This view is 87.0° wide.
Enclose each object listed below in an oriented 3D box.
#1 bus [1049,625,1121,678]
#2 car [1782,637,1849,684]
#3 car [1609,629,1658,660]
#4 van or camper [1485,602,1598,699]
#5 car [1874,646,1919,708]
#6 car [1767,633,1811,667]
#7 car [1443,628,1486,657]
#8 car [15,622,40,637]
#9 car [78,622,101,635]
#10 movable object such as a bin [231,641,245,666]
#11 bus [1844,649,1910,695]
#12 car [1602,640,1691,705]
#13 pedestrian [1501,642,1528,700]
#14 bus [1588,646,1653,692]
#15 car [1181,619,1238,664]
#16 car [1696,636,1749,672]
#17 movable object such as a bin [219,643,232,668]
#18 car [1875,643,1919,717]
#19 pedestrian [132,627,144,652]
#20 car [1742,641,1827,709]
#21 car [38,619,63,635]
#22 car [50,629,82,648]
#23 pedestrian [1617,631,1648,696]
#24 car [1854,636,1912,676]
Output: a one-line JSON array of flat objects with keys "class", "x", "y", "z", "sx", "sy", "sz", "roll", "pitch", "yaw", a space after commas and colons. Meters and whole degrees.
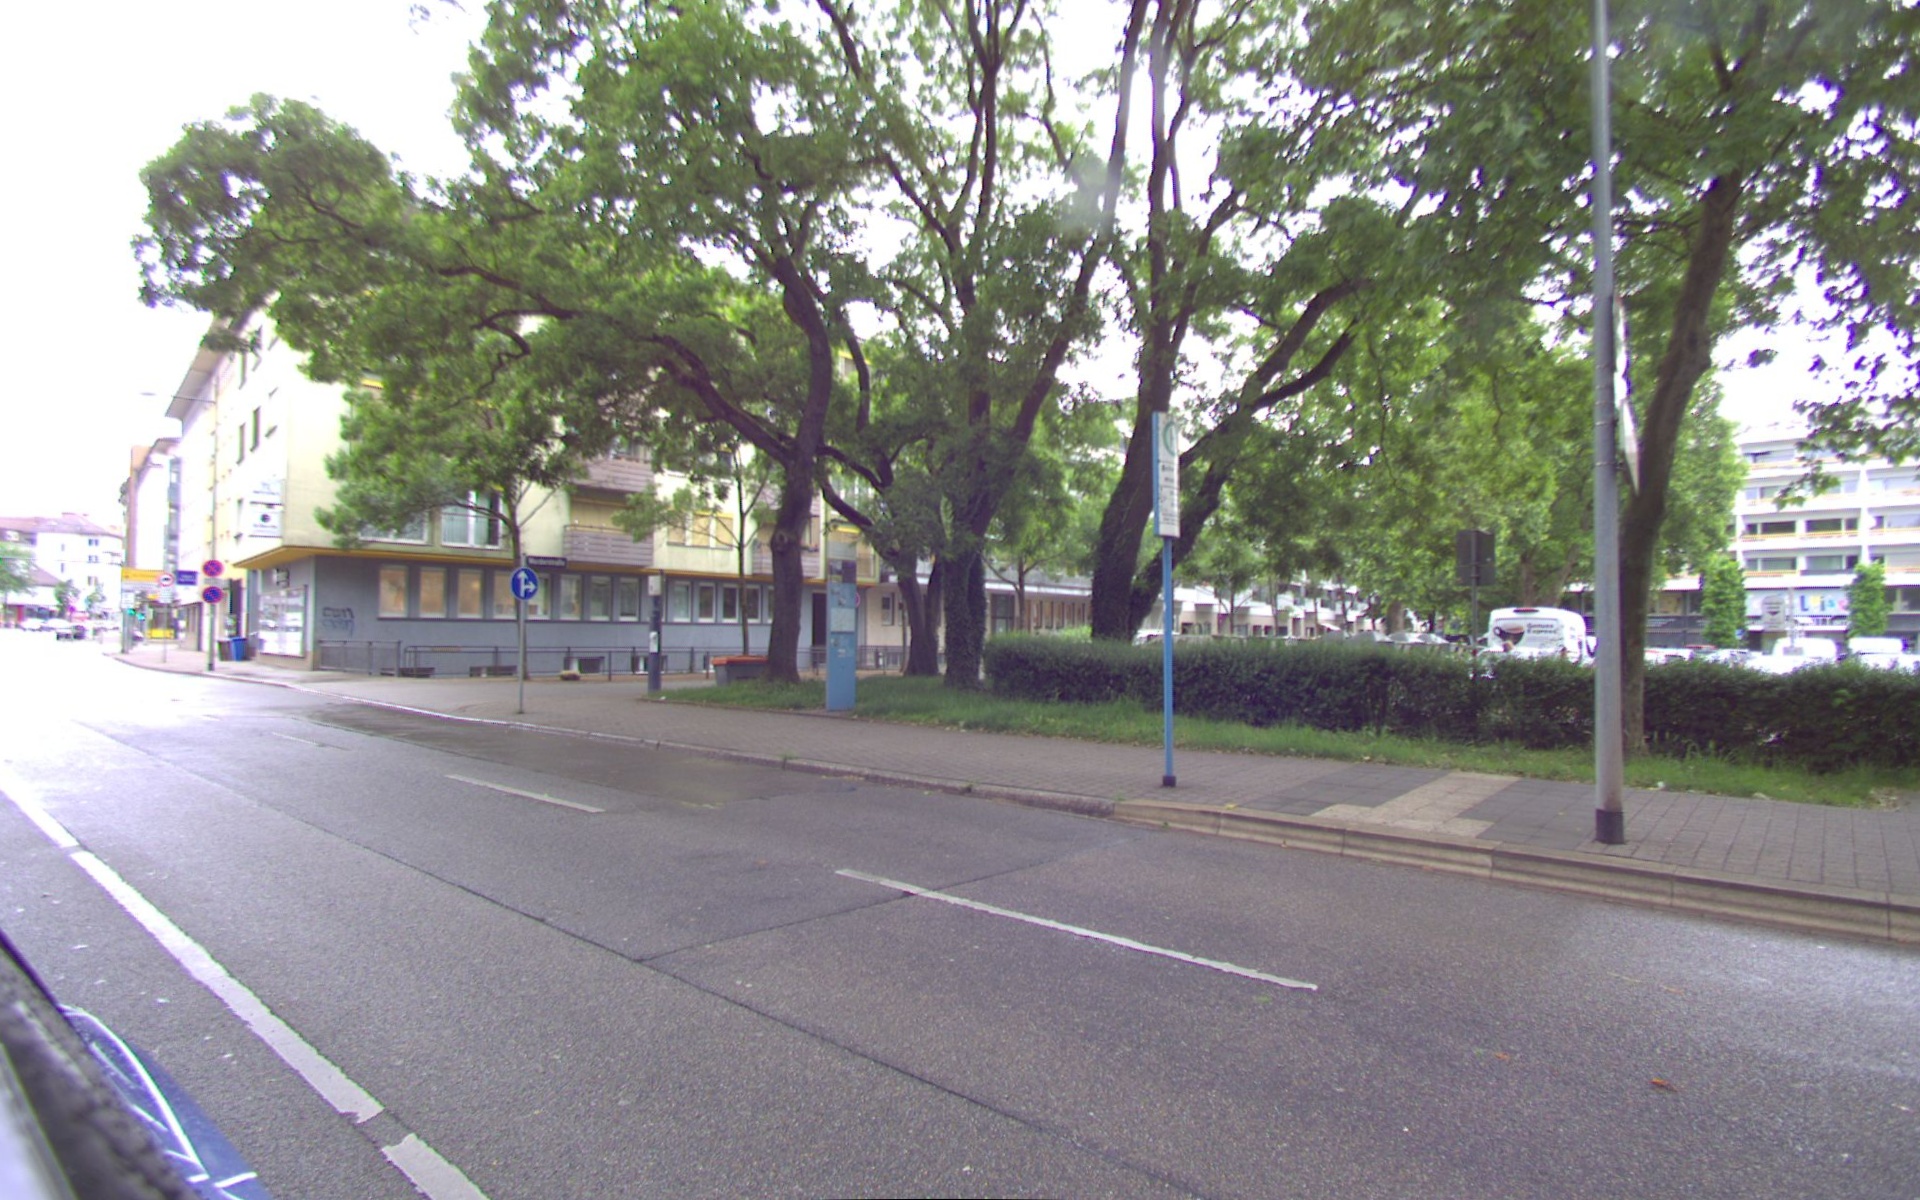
[{"class": "bus", "x": 4.830, "y": 1.968, "z": 38.688, "sx": 1.703, "sy": 1.939, "sz": 3.697, "roll": 0, "pitch": -3, "yaw": 24}, {"class": "car", "x": 28.167, "y": 1.967, "z": 33.352, "sx": 1.604, "sy": 1.439, "sz": 3.275, "roll": -1, "pitch": -3, "yaw": 40}, {"class": "car", "x": 32.458, "y": 2.160, "z": 48.731, "sx": 1.604, "sy": 1.439, "sz": 3.275, "roll": -1, "pitch": -3, "yaw": 40}, {"class": "van or camper", "x": 16.823, "y": 1.444, "z": 29.192, "sx": 2.097, "sy": 2.556, "sz": 4.367, "roll": -1, "pitch": -3, "yaw": 40}, {"class": "car", "x": 23.409, "y": 1.867, "z": 24.807, "sx": 1.391, "sy": 1.446, "sz": 3.227, "roll": -2, "pitch": -4, "yaw": 41}, {"class": "car", "x": 41.978, "y": 2.505, "z": 51.301, "sx": 1.639, "sy": 1.536, "sz": 3.161, "roll": -1, "pitch": 0, "yaw": 38}, {"class": "car", "x": 27.255, "y": 2.293, "z": 54.678, "sx": 1.428, "sy": 1.439, "sz": 2.926, "roll": -2, "pitch": -1, "yaw": 40}, {"class": "car", "x": -111.723, "y": 3.554, "z": 121.290, "sx": 4.002, "sy": 1.653, "sz": 1.971, "roll": -2, "pitch": -4, "yaw": 45}, {"class": "car", "x": -110.901, "y": 3.664, "z": 128.931, "sx": 4.002, "sy": 1.670, "sz": 1.842, "roll": -2, "pitch": -4, "yaw": 45}, {"class": "movable object such as a bin", "x": -29.855, "y": 2.220, "z": 41.860, "sx": 0.409, "sy": 1.037, "sz": 0.354, "roll": 3, "pitch": -4, "yaw": -42}, {"class": "bus", "x": 33.150, "y": 2.577, "z": 36.658, "sx": 1.604, "sy": 1.551, "sz": 3.385, "roll": -1, "pitch": -3, "yaw": 40}, {"class": "car", "x": 16.726, "y": 1.735, "z": 24.622, "sx": 1.391, "sy": 1.446, "sz": 3.227, "roll": -2, "pitch": -4, "yaw": 41}, {"class": "pedestrian", "x": 11.982, "y": 1.529, "z": 21.882, "sx": 0.465, "sy": 1.222, "sz": 0.433, "roll": -1, "pitch": 0, "yaw": 34}, {"class": "bus", "x": 24.149, "y": 2.495, "z": 36.974, "sx": 1.604, "sy": 1.551, "sz": 3.385, "roll": -1, "pitch": -3, "yaw": 40}, {"class": "car", "x": 11.942, "y": 1.985, "z": 48.242, "sx": 1.988, "sy": 2.029, "sz": 3.967, "roll": 0, "pitch": -3, "yaw": 24}, {"class": "car", "x": 35.713, "y": 2.488, "z": 47.364, "sx": 1.837, "sy": 1.435, "sz": 3.780, "roll": -1, "pitch": 0, "yaw": 39}, {"class": "movable object such as a bin", "x": -30.259, "y": 2.278, "z": 41.687, "sx": 0.333, "sy": 1.037, "sz": 0.354, "roll": 3, "pitch": -4, "yaw": -42}, {"class": "car", "x": 19.922, "y": 1.638, "z": 20.944, "sx": 1.391, "sy": 1.446, "sz": 3.227, "roll": -2, "pitch": -4, "yaw": 41}, {"class": "pedestrian", "x": -59.679, "y": 2.870, "z": 73.436, "sx": 0.586, "sy": 1.858, "sz": 0.565, "roll": 3, "pitch": -4, "yaw": -42}, {"class": "car", "x": 19.231, "y": 1.712, "z": 23.567, "sx": 1.391, "sy": 1.446, "sz": 3.227, "roll": -2, "pitch": -4, "yaw": 41}, {"class": "car", "x": -113.977, "y": 3.384, "z": 126.809, "sx": 4.002, "sy": 1.866, "sz": 1.971, "roll": -2, "pitch": -4, "yaw": 45}, {"class": "car", "x": -82.288, "y": 3.555, "z": 93.139, "sx": 4.002, "sy": 1.730, "sz": 1.863, "roll": -2, "pitch": -4, "yaw": 45}, {"class": "pedestrian", "x": 12.963, "y": 1.213, "z": 19.519, "sx": 0.484, "sy": 1.222, "sz": 0.433, "roll": -1, "pitch": 0, "yaw": 34}, {"class": "car", "x": 40.494, "y": 2.426, "z": 44.460, "sx": 1.639, "sy": 1.536, "sz": 3.161, "roll": -1, "pitch": 0, "yaw": 38}]
